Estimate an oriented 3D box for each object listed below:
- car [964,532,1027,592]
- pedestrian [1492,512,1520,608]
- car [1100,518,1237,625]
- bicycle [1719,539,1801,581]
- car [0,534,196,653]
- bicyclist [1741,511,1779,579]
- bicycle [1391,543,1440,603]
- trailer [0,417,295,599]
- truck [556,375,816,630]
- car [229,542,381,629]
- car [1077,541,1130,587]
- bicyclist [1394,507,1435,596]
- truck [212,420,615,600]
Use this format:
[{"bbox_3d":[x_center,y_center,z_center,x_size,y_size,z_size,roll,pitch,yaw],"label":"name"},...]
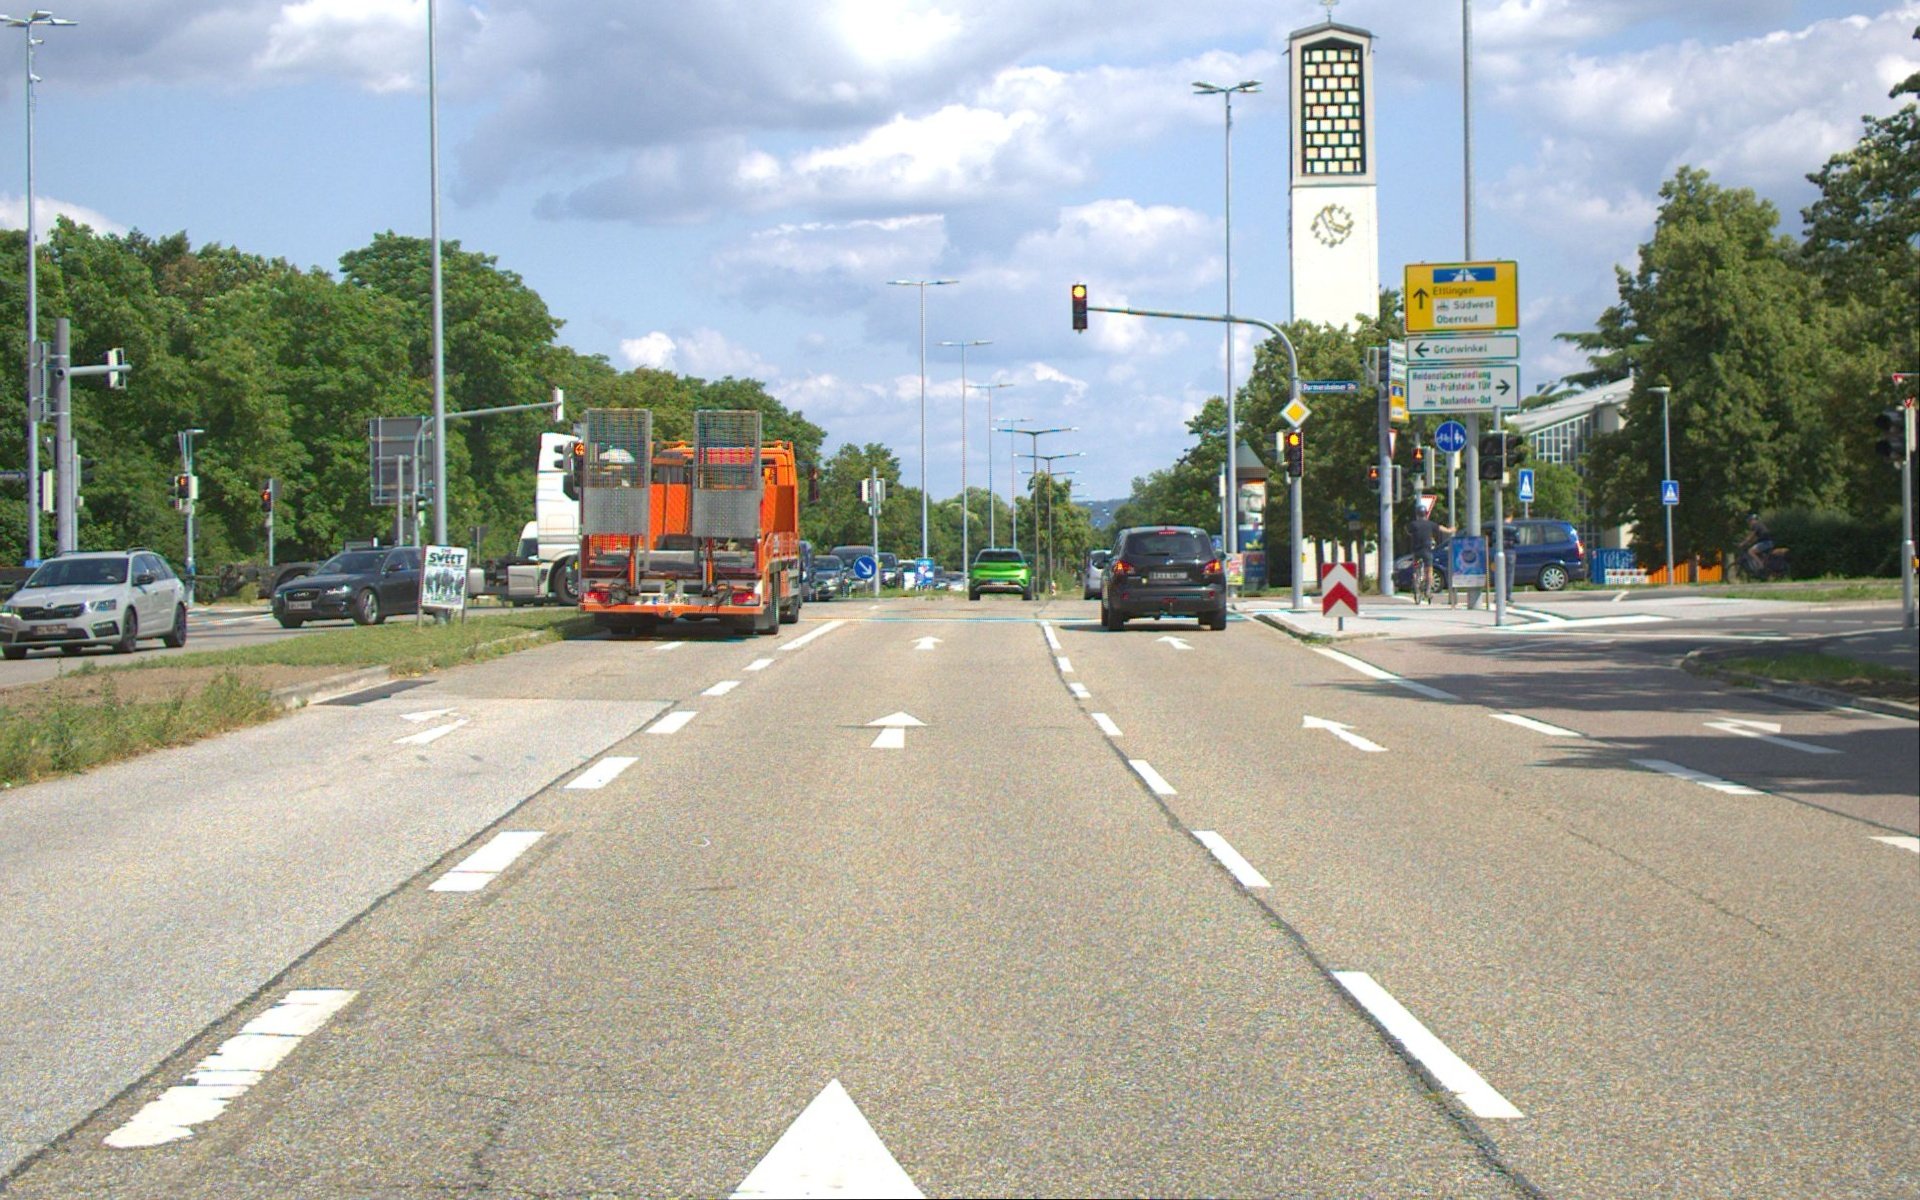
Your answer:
[{"bbox_3d":[1.025,-1.091,100.022,1.740,1.664,3.590,1,0,0],"label":"car"},{"bbox_3d":[10.250,-0.747,64.571,0.465,1.773,0.482,1,0,11],"label":"pedestrian"},{"bbox_3d":[3.160,-0.426,52.824,1.799,1.547,4.000,1,0,0],"label":"car"},{"bbox_3d":[21.264,-1.057,91.358,2.000,1.090,0.684,0,0,33],"label":"bicycle"},{"bbox_3d":[-12.250,-0.089,48.750,1.732,1.503,4.653,-4,0,0],"label":"car"},{"bbox_3d":[21.256,-1.448,91.352,0.788,1.798,0.684,0,0,32],"label":"bicyclist"},{"bbox_3d":[8.653,-0.507,65.268,0.648,1.104,1.926,1,0,16],"label":"bicycle"},{"bbox_3d":[-21.139,-2.106,78.190,11.282,3.998,3.632,0,1,2],"label":"trailer"},{"bbox_3d":[-3.974,-1.350,52.499,3.070,3.402,11.068,1,0,0],"label":"truck"},{"bbox_3d":[-11.426,-0.259,60.236,1.771,1.433,4.576,-1,0,0],"label":"car"},{"bbox_3d":[5.075,-1.272,122.307,1.658,1.550,4.000,1,0,0],"label":"car"},{"bbox_3d":[8.612,-0.917,65.080,0.648,1.656,0.649,1,0,16],"label":"bicyclist"},{"bbox_3d":[-12.315,-2.019,78.015,8.610,3.957,2.969,0,0,2],"label":"truck"}]
